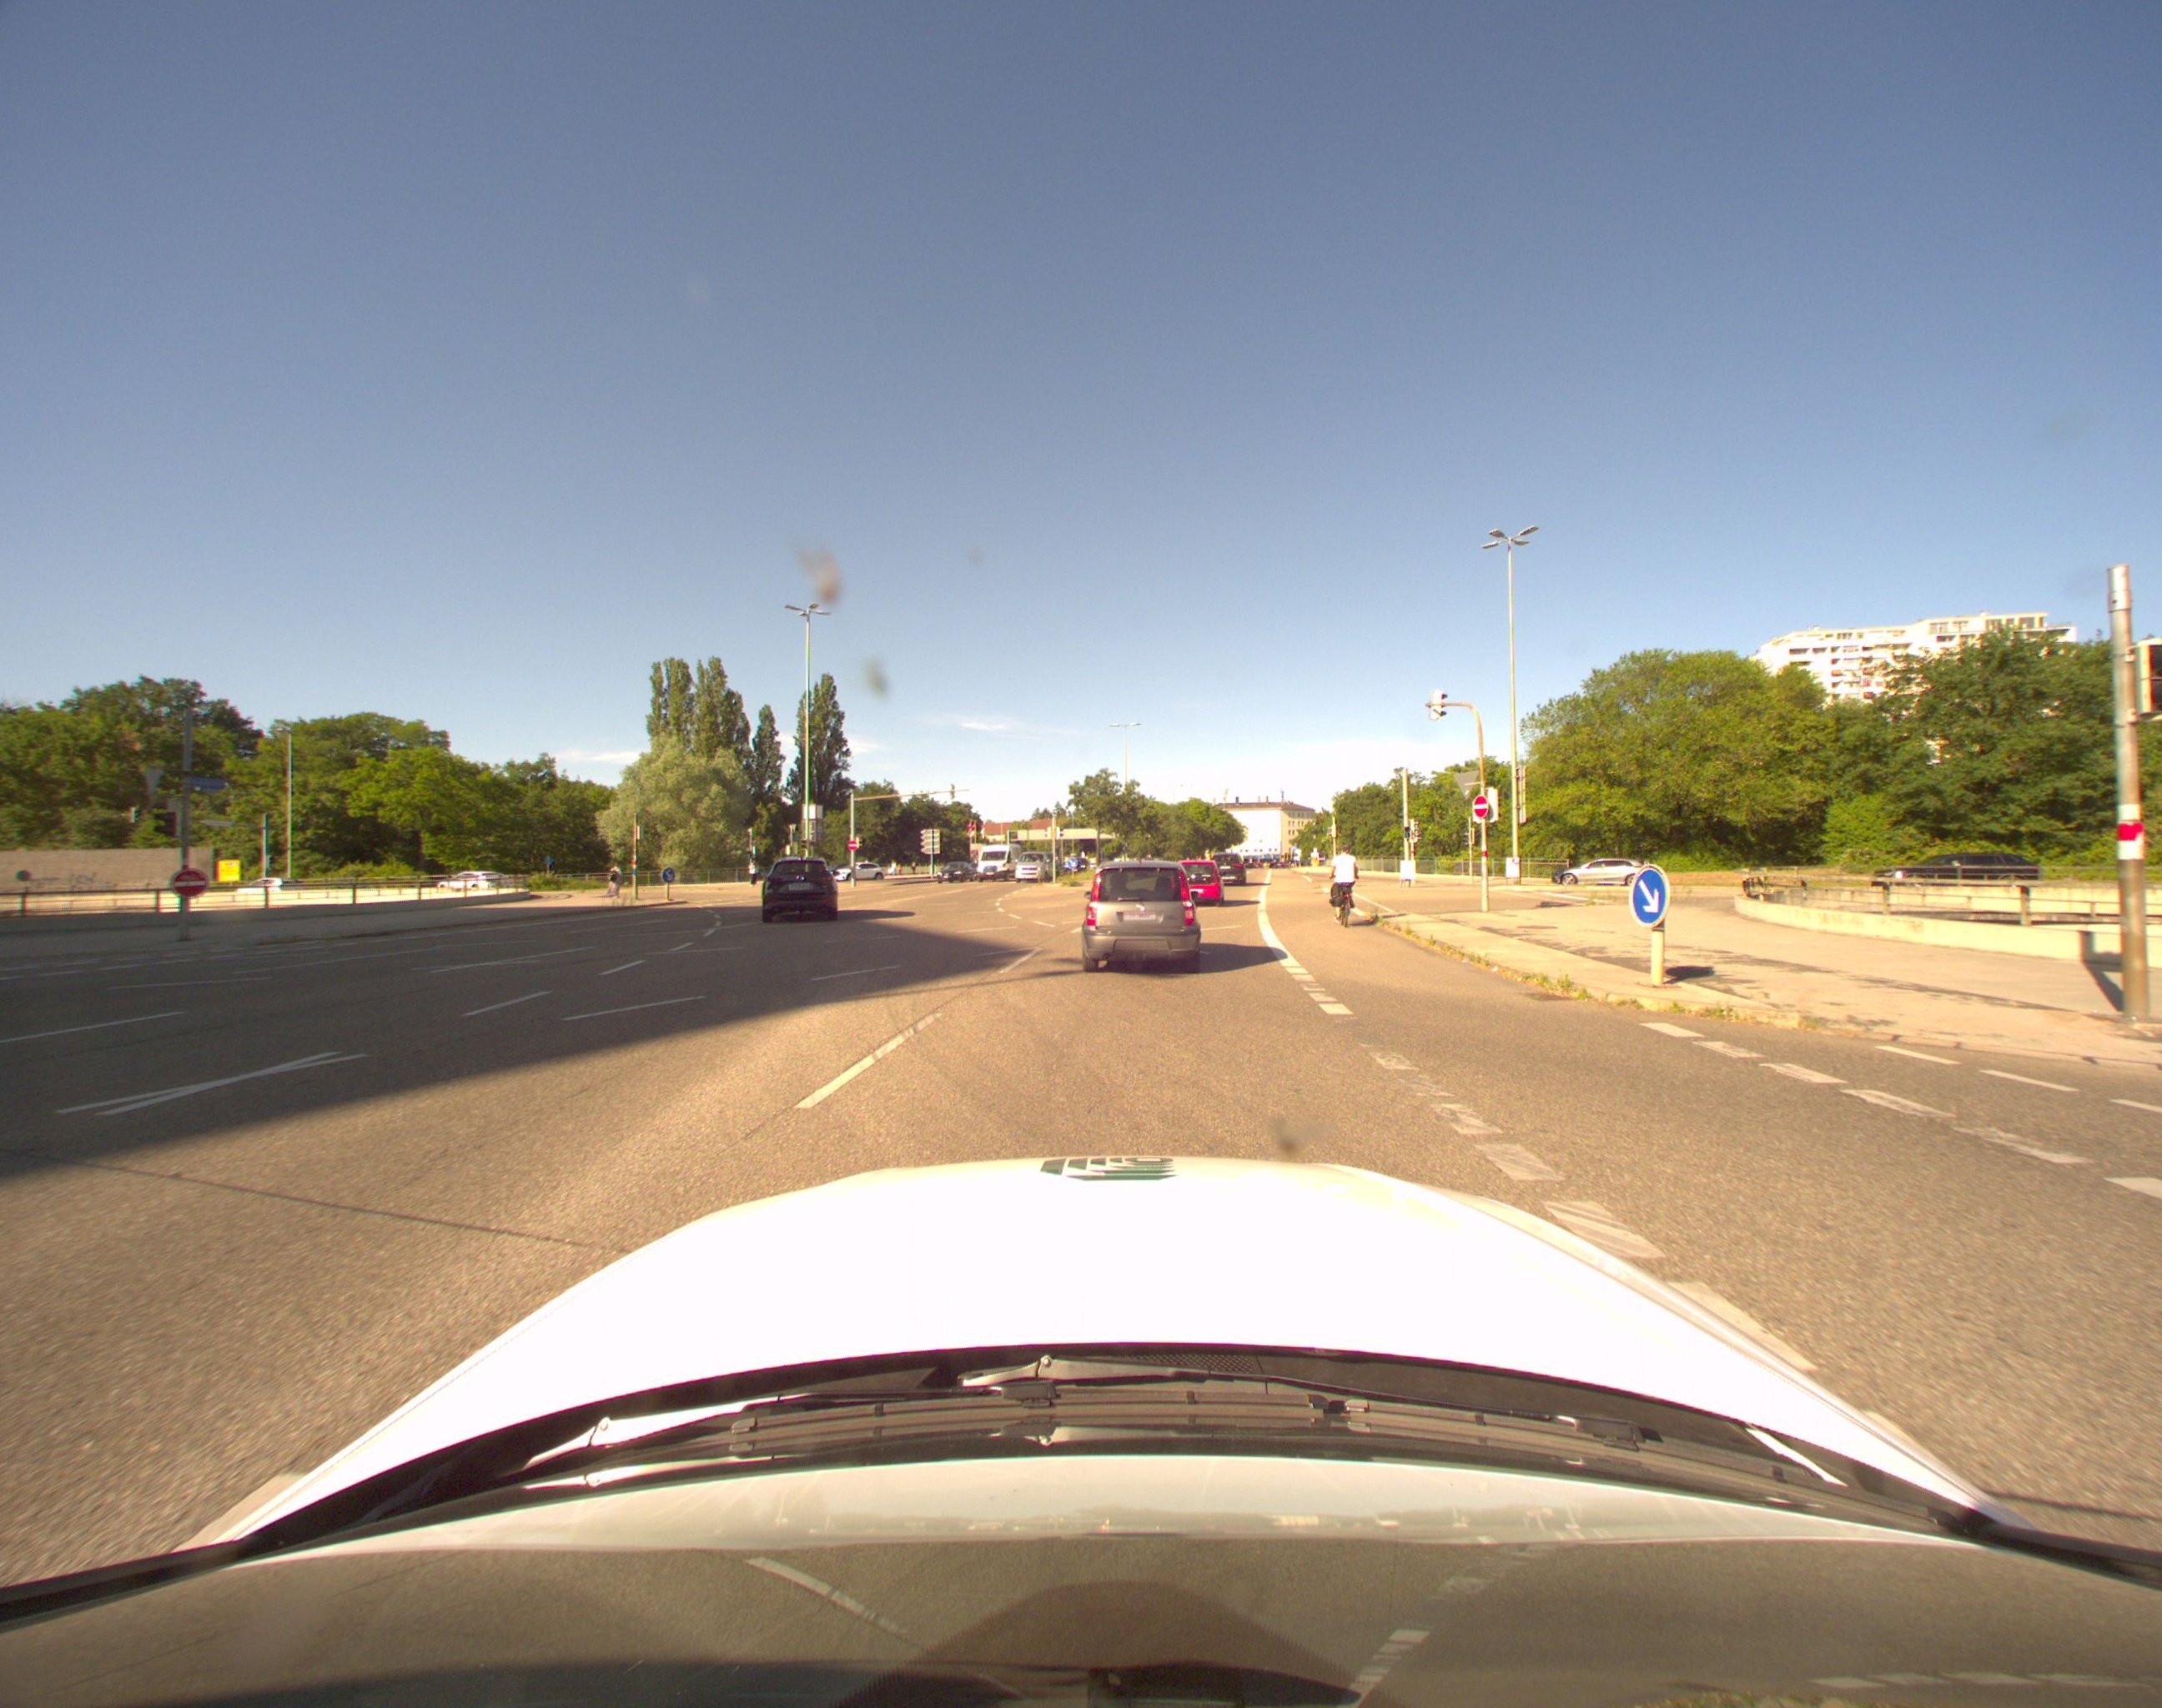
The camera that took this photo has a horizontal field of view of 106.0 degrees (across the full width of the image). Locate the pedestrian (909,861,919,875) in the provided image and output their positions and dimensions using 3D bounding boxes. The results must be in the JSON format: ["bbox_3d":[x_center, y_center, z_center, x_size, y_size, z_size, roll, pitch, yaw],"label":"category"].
[{"bbox_3d":[-18.363,1.547,89.499,0.664,1.503,0.784,-1,-3,26],"label":"pedestrian"}]

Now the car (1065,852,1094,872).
[{"bbox_3d":[-0.082,0.701,72.436,1.926,1.622,4.515,-1,0,8],"label":"car"}]

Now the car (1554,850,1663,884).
[{"bbox_3d":[25.344,0.614,39.209,4.190,1.552,1.872,-1,-1,41],"label":"car"}]

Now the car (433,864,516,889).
[{"bbox_3d":[-35.586,1.310,47.808,4.269,1.415,1.795,-1,-1,19],"label":"car"}]

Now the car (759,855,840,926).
[{"bbox_3d":[-7.527,0.907,21.985,1.879,1.709,4.171,0,-1,-18],"label":"car"}]

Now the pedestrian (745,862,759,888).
[{"bbox_3d":[-20.349,1.305,50.314,0.713,1.547,0.722,0,-1,-30],"label":"pedestrian"}]

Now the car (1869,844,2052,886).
[{"bbox_3d":[34.988,0.452,32.578,4.622,1.616,1.871,-1,-1,22],"label":"car"}]

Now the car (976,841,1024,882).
[{"bbox_3d":[-5.365,0.516,55.043,1.926,2.576,6.100,-1,0,7],"label":"car"}]

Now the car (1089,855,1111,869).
[{"bbox_3d":[2.166,0.908,92.628,1.926,1.622,4.515,-1,0,8],"label":"car"}]

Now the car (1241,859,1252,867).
[{"bbox_3d":[34.452,1.918,169.369,1.931,1.528,4.114,-1,-1,15],"label":"car"}]

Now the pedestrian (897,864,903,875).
[{"bbox_3d":[-18.211,1.588,81.859,0.420,1.136,0.399,0,-3,11],"label":"pedestrian"}]

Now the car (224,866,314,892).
[{"bbox_3d":[-51.059,1.570,51.263,3.965,1.508,2.004,-1,0,8],"label":"car"}]

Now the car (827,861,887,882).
[{"bbox_3d":[-17.313,1.353,63.070,1.762,1.535,4.356,0,0,35],"label":"car"}]

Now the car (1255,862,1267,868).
[{"bbox_3d":[44.830,2.671,202.969,1.927,1.528,4.122,-1,-1,28],"label":"car"}]

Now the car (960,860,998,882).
[{"bbox_3d":[-7.717,1.292,62.100,1.802,1.542,4.623,-2,0,5],"label":"car"}]

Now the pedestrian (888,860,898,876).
[{"bbox_3d":[-18.952,1.394,82.087,0.715,1.641,0.674,0,-3,11],"label":"pedestrian"}]

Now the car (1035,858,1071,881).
[{"bbox_3d":[-1.985,1.086,58.507,1.926,1.622,4.514,-1,0,7],"label":"car"}]

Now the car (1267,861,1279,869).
[{"bbox_3d":[44.849,2.603,190.532,1.848,1.681,3.931,-1,-3,27],"label":"car"}]

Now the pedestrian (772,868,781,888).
[{"bbox_3d":[-23.683,1.852,63.266,0.559,1.547,0.571,-1,-2,-30],"label":"pedestrian"}]

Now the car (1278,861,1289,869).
[{"bbox_3d":[49.372,2.715,198.130,1.848,1.681,3.931,-1,-3,26],"label":"car"}]

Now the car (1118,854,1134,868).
[{"bbox_3d":[6.629,0.999,119.570,1.982,2.014,4.344,-1,-1,9],"label":"car"}]

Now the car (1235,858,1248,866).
[{"bbox_3d":[28.917,1.462,146.728,1.931,1.528,4.113,-1,-1,15],"label":"car"}]

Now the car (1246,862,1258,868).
[{"bbox_3d":[40.650,2.612,193.712,1.928,1.528,4.120,-1,-1,23],"label":"car"}]

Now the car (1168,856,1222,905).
[{"bbox_3d":[3.767,0.825,26.796,1.608,1.463,3.759,-1,0,8],"label":"car"}]

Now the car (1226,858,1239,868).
[{"bbox_3d":[24.777,1.450,133.142,1.931,1.528,4.113,-1,-1,14],"label":"car"}]

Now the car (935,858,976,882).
[{"bbox_3d":[-8.493,1.052,55.448,1.928,1.507,4.004,-2,0,4],"label":"car"}]

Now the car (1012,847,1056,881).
[{"bbox_3d":[-2.914,0.610,51.711,1.926,2.008,4.940,-1,0,7],"label":"car"}]

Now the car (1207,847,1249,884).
[{"bbox_3d":[7.846,0.642,43.179,1.932,1.840,4.167,1,-1,13],"label":"car"}]

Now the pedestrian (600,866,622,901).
[{"bbox_3d":[-20.150,1.244,34.941,0.681,1.463,0.698,0,-1,-20],"label":"pedestrian"}]

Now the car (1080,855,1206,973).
[{"bbox_3d":[0.953,0.791,12.420,1.610,1.515,3.824,-1,0,5],"label":"car"}]

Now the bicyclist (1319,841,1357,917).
[{"bbox_3d":[5.770,0.544,18.317,0.719,1.659,1.117,0,-1,13],"label":"bicyclist"}]

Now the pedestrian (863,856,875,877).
[{"bbox_3d":[-20.013,1.201,76.895,0.800,1.997,0.790,0,-3,11],"label":"pedestrian"}]

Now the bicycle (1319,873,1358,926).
[{"bbox_3d":[5.768,0.984,18.311,0.686,1.102,1.832,0,-1,13],"label":"bicycle"}]
